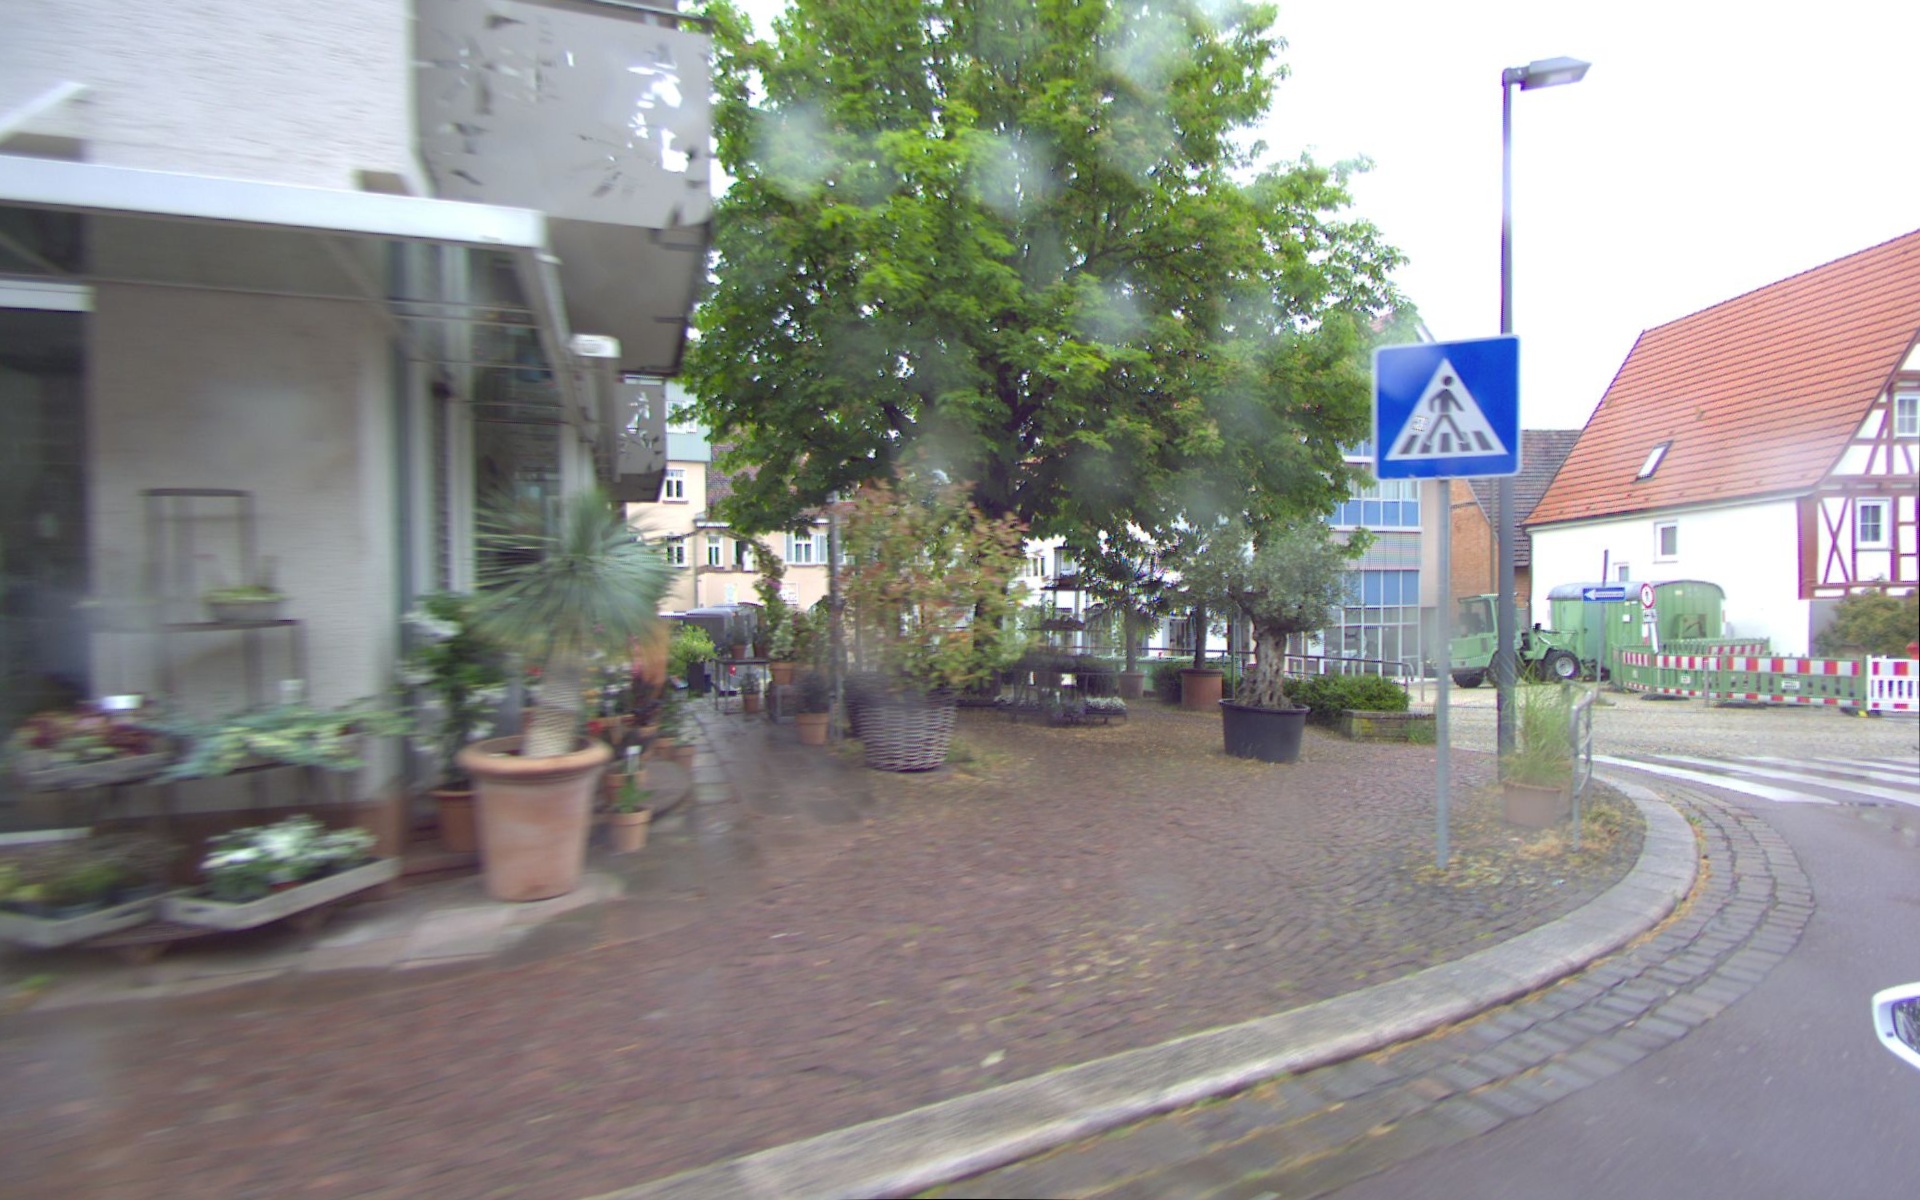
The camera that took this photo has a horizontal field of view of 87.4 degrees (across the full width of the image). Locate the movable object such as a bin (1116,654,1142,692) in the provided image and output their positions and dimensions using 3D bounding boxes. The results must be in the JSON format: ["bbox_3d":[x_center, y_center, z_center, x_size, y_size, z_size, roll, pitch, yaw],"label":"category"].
[{"bbox_3d":[5.183,2.232,30.827,0.556,1.141,0.545,0,-3,-38],"label":"movable object such as a bin"}]

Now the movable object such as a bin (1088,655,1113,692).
[{"bbox_3d":[4.440,2.299,31.683,0.533,1.141,0.534,0,-3,-38],"label":"movable object such as a bin"}]

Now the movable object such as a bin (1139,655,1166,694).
[{"bbox_3d":[5.695,2.191,29.690,0.556,1.141,0.545,0,-3,-38],"label":"movable object such as a bin"}]

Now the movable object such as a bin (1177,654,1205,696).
[{"bbox_3d":[6.576,2.128,28.601,0.556,1.141,0.536,0,-3,-38],"label":"movable object such as a bin"}]

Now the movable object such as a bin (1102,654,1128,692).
[{"bbox_3d":[4.814,2.269,31.234,0.556,1.141,0.545,0,-3,-38],"label":"movable object such as a bin"}]

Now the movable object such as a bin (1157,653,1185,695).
[{"bbox_3d":[6.131,2.140,29.140,0.556,1.175,0.545,0,-3,-38],"label":"movable object such as a bin"}]

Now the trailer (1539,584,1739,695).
[{"bbox_3d":[19.269,1.044,28.843,2.444,2.874,4.630,1,0,-3],"label":"trailer"}]

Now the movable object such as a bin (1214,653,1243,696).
[{"bbox_3d":[7.385,2.043,27.630,0.556,1.141,0.545,0,-3,-38],"label":"movable object such as a bin"}]

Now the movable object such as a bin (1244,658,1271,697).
[{"bbox_3d":[8.021,2.088,27.083,0.492,1.004,0.558,-3,-3,43],"label":"movable object such as a bin"}]

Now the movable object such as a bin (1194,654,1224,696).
[{"bbox_3d":[6.951,2.090,28.058,0.556,1.141,0.545,0,-3,-38],"label":"movable object such as a bin"}]

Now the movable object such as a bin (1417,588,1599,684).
[{"bbox_3d":[15.689,1.032,28.893,4.211,2.588,1.910,-1,-2,-7],"label":"movable object such as a bin"}]

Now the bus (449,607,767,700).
[{"bbox_3d":[-12.239,1.843,35.179,10.342,3.030,2.790,-1,0,9],"label":"bus"}]

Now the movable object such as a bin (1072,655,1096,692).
[{"bbox_3d":[3.954,2.341,32.119,0.532,1.141,0.535,-3,-3,42],"label":"movable object such as a bin"}]
